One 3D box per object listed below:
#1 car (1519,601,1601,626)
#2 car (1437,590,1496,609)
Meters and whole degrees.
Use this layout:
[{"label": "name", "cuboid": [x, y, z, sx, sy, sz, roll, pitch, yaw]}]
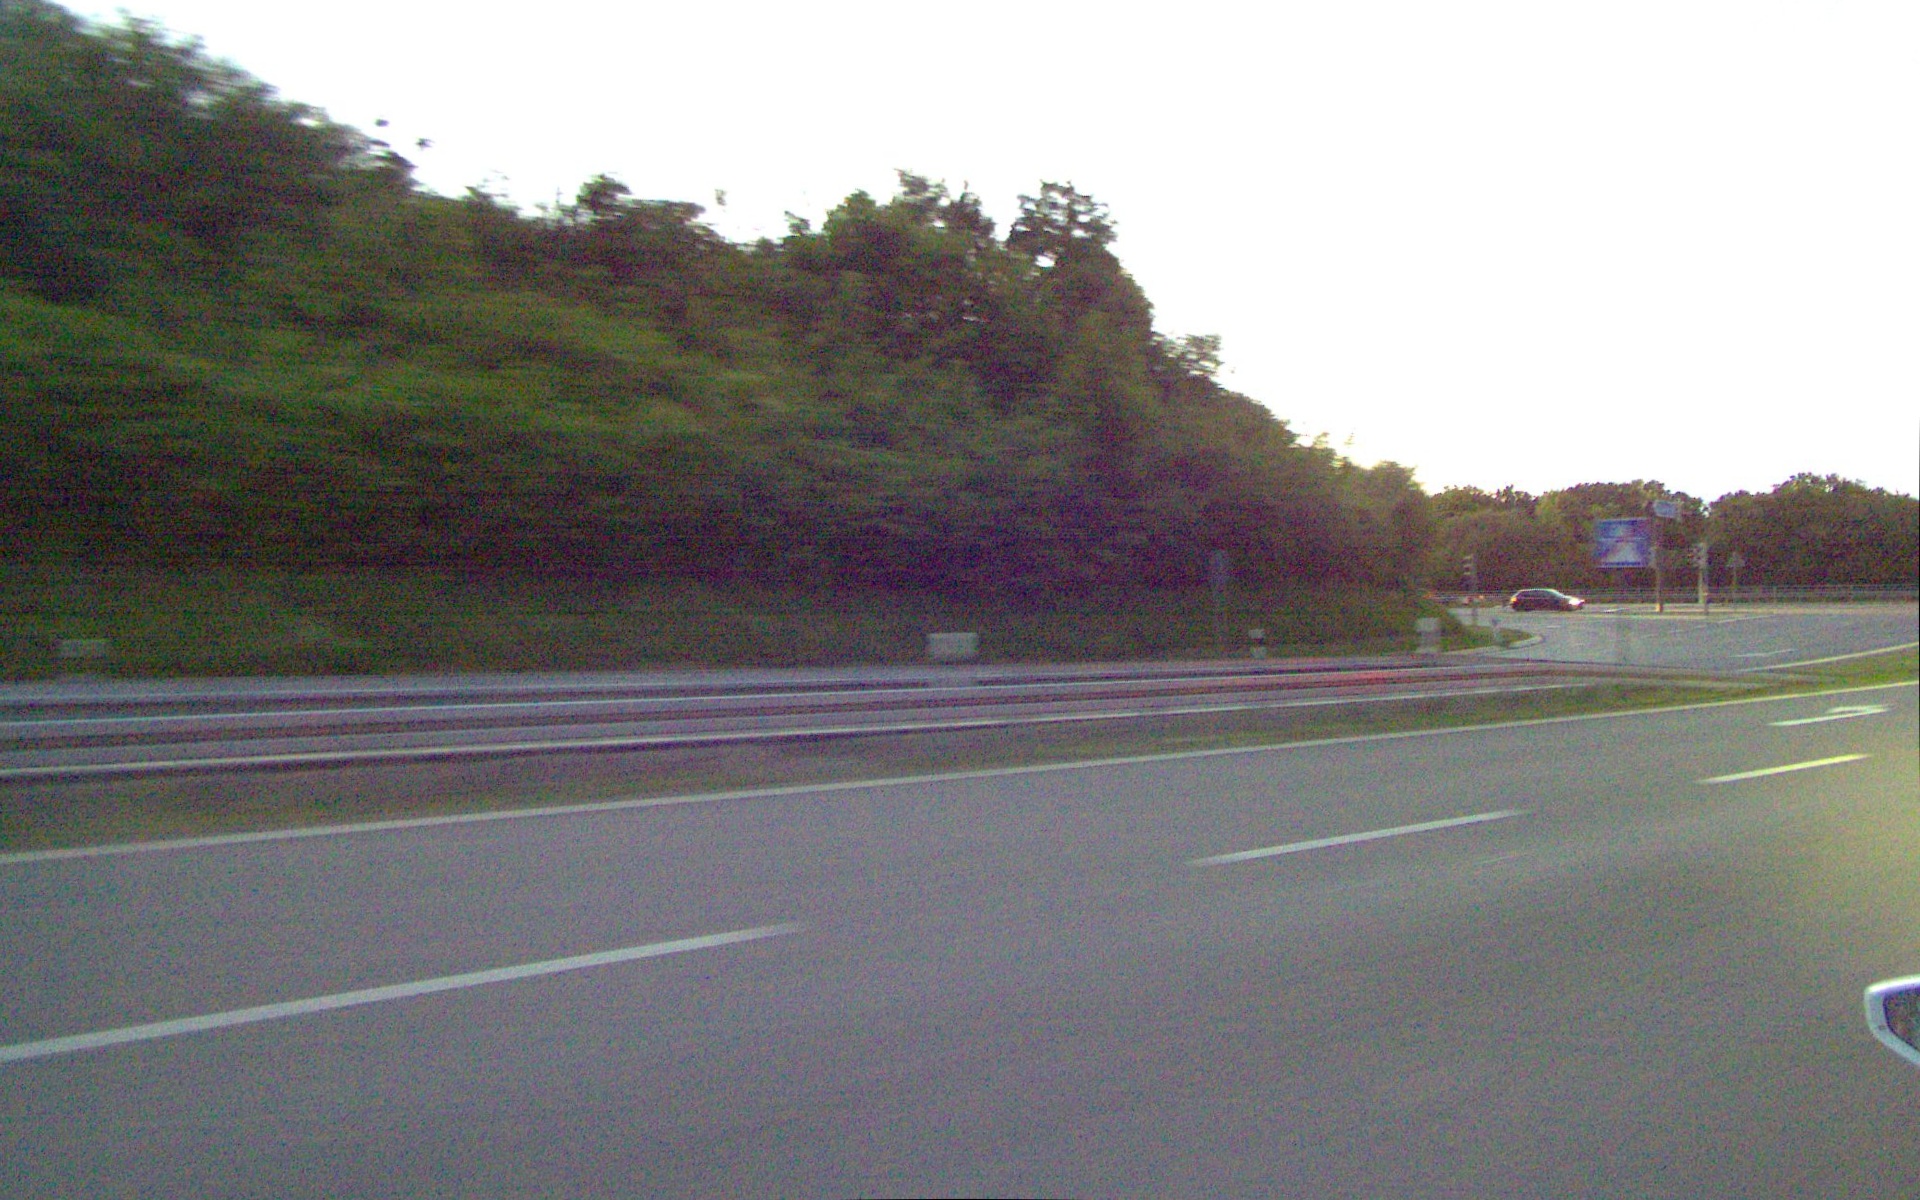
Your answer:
[{"label": "car", "cuboid": [36.937, 0.827, 61.918, 1.986, 1.472, 3.949, 0, -2, -44]}, {"label": "car", "cuboid": [41.718, -0.055, 82.769, 1.986, 1.472, 3.949, 0, 1, -43]}]
